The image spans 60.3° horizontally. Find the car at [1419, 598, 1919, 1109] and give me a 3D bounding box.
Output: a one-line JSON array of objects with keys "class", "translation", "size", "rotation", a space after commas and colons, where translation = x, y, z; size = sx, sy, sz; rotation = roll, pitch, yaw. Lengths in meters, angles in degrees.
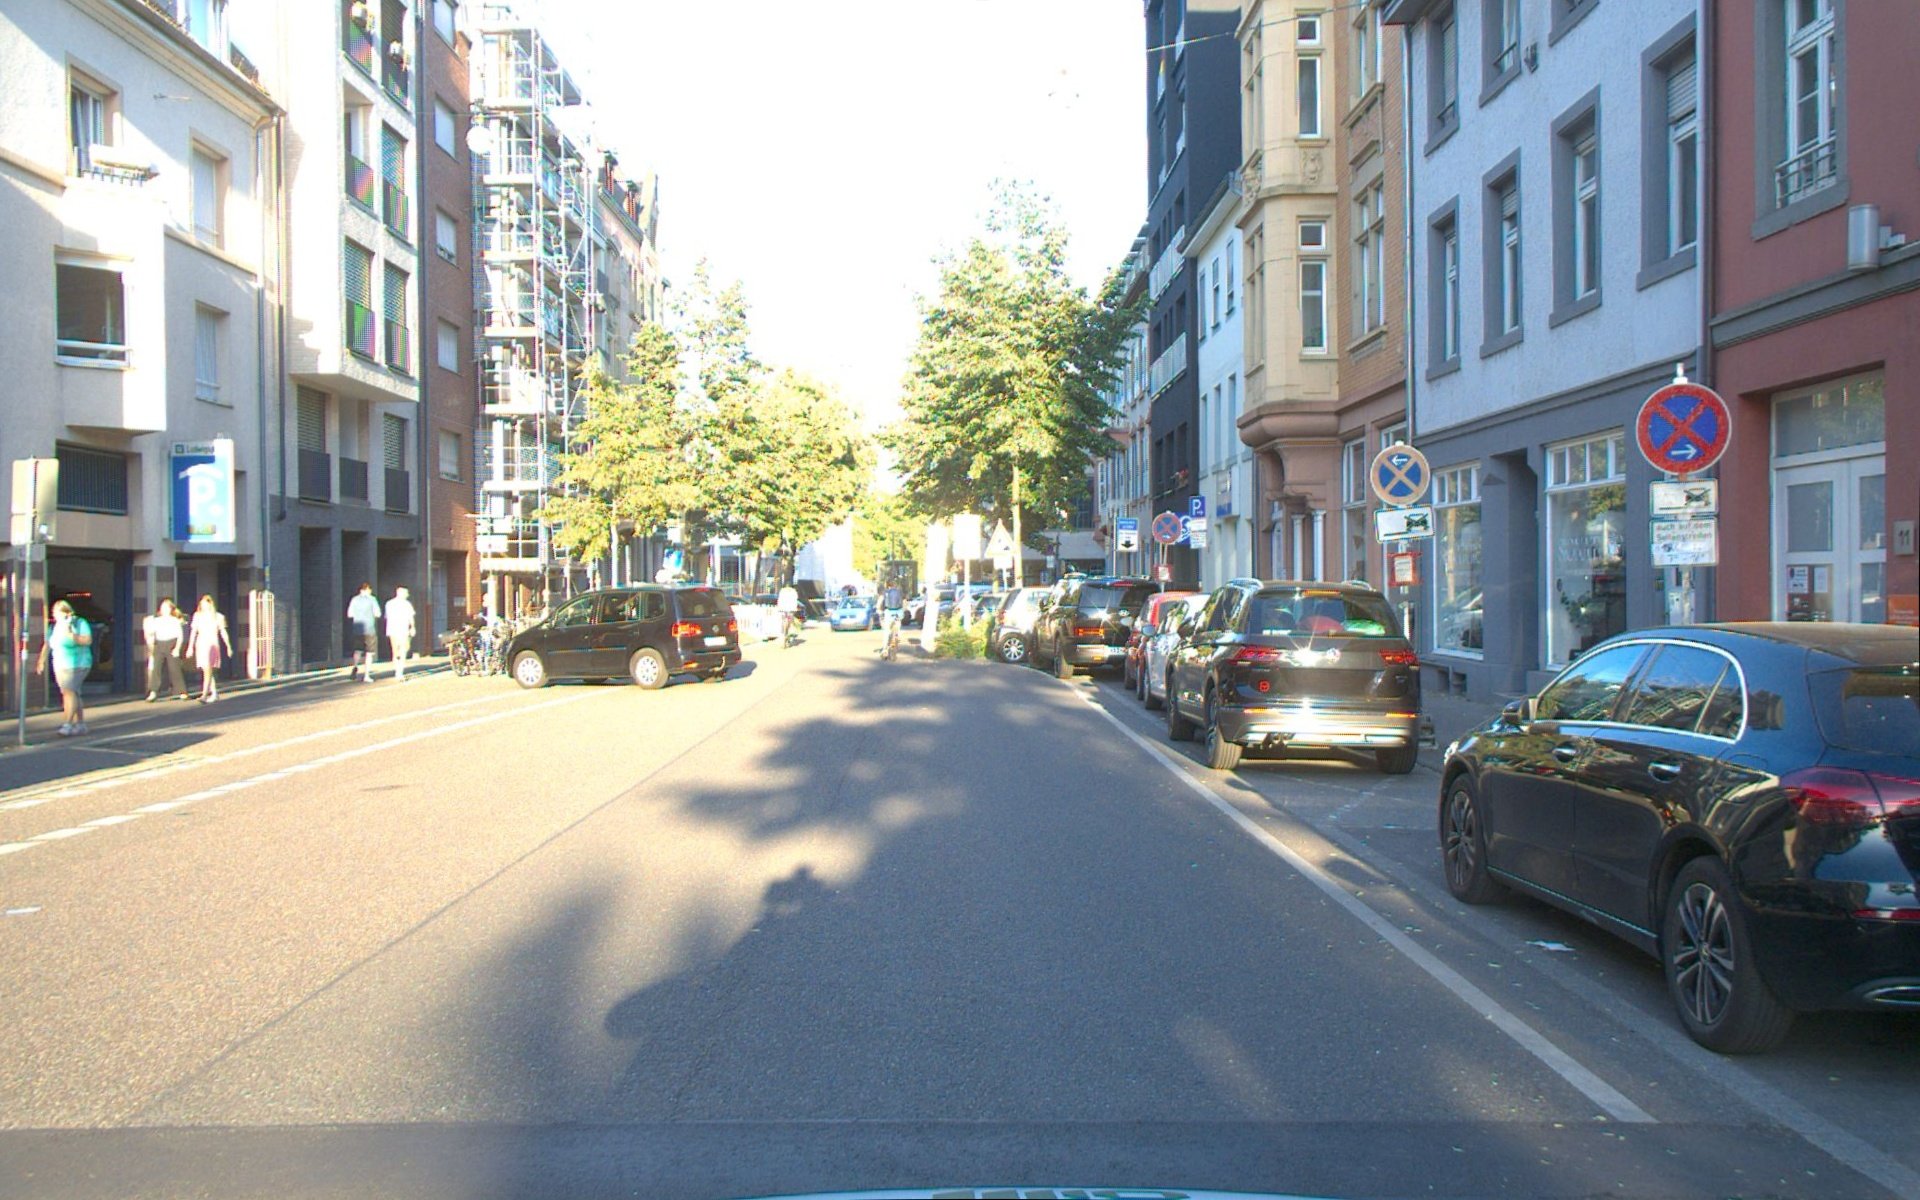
[{"class": "car", "translation": [3.430, 0.765, 7.065], "size": [1.726, 1.509, 4.306], "rotation": [1, 0, 0]}]

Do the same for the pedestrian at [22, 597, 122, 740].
[{"class": "pedestrian", "translation": [-10.672, 0.804, 19.901], "size": [0.702, 1.670, 0.951], "rotation": [1, 0, -3]}]

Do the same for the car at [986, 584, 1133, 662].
[{"class": "car", "translation": [2.058, 0.478, 34.778], "size": [2.910, 1.563, 1.432], "rotation": [1, 0, -5]}]

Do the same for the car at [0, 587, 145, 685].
[{"class": "car", "translation": [-16.927, 0.585, 28.856], "size": [4.401, 1.629, 2.000], "rotation": [1, 0, 2]}]

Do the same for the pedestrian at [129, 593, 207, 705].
[{"class": "pedestrian", "translation": [-12.025, 0.729, 25.131], "size": [0.701, 1.670, 0.855], "rotation": [1, 0, 4]}]

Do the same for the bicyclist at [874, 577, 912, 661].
[{"class": "bicyclist", "translation": [-1.412, 0.401, 34.796], "size": [0.765, 1.726, 1.006], "rotation": [-1, 0, -3]}]

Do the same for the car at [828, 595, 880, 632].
[{"class": "car", "translation": [-4.386, 0.553, 68.946], "size": [1.800, 1.466, 4.332], "rotation": [1, 0, 1]}]

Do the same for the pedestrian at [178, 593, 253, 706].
[{"class": "pedestrian", "translation": [-11.261, 0.742, 25.041], "size": [0.701, 1.670, 0.855], "rotation": [1, 0, 3]}]

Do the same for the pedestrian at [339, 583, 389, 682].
[{"class": "pedestrian", "translation": [-10.971, 0.594, 30.453], "size": [0.703, 1.798, 0.693], "rotation": [1, 0, -9]}]

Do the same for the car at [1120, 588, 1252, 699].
[{"class": "car", "translation": [3.286, 0.602, 24.488], "size": [1.554, 1.509, 3.267], "rotation": [1, 0, 1]}]

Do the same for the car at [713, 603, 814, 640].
[{"class": "car", "translation": [-8.324, 0.915, 70.354], "size": [4.018, 1.491, 1.889], "rotation": [1, 0, 1]}]

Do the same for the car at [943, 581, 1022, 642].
[{"class": "car", "translation": [0.726, 0.381, 56.990], "size": [2.221, 1.796, 4.506], "rotation": [5, -1, -4]}]

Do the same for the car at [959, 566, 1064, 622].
[{"class": "car", "translation": [1.965, -0.235, 62.274], "size": [3.903, 2.049, 2.001], "rotation": [-1, 0, 3]}]

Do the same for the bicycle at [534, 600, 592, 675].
[{"class": "bicycle", "translation": [-7.951, 0.721, 33.257], "size": [0.876, 1.420, 3.159], "rotation": [0, 0, -9]}]

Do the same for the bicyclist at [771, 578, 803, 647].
[{"class": "bicyclist", "translation": [-4.756, 0.350, 45.542], "size": [0.765, 1.861, 1.006], "rotation": [-1, 0, -3]}]

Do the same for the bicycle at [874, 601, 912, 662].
[{"class": "bicycle", "translation": [-1.417, 0.652, 34.780], "size": [0.765, 1.225, 2.019], "rotation": [-1, 0, -3]}]

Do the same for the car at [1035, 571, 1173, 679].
[{"class": "car", "translation": [2.446, 0.414, 29.105], "size": [1.789, 1.725, 4.365], "rotation": [1, 0, -4]}]

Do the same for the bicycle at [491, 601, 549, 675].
[{"class": "bicycle", "translation": [-8.781, 0.727, 33.105], "size": [0.766, 1.397, 3.136], "rotation": [1, 0, -9]}]

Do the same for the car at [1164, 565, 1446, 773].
[{"class": "car", "translation": [3.103, 0.574, 15.725], "size": [1.775, 1.697, 4.205], "rotation": [1, 0, 0]}]

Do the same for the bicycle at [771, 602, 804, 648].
[{"class": "bicycle", "translation": [-4.738, 0.671, 45.553], "size": [0.765, 1.225, 2.019], "rotation": [-1, 0, -3]}]

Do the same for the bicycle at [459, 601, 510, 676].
[{"class": "bicycle", "translation": [-9.459, 0.734, 32.974], "size": [0.574, 1.420, 3.154], "rotation": [1, 0, -9]}]

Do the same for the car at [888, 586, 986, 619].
[{"class": "car", "translation": [-1.058, 0.114, 77.799], "size": [4.412, 1.506, 1.865], "rotation": [1, 0, -38]}]

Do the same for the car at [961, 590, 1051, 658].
[{"class": "car", "translation": [1.150, 0.607, 43.608], "size": [1.954, 1.697, 4.506], "rotation": [1, 0, -4]}]

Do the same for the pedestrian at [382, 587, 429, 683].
[{"class": "pedestrian", "translation": [-10.483, 0.655, 31.269], "size": [0.703, 1.771, 0.737], "rotation": [1, 0, -9]}]

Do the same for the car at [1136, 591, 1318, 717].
[{"class": "car", "translation": [3.209, 0.613, 20.539], "size": [1.632, 1.402, 3.802], "rotation": [1, 0, 0]}]

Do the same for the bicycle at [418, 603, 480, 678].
[{"class": "bicycle", "translation": [-10.114, 0.768, 32.856], "size": [0.707, 1.420, 3.146], "rotation": [1, 0, -9]}]

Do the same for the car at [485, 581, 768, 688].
[{"class": "car", "translation": [-5.562, 0.597, 27.471], "size": [4.411, 1.630, 1.996], "rotation": [-2, -2, 30]}]
